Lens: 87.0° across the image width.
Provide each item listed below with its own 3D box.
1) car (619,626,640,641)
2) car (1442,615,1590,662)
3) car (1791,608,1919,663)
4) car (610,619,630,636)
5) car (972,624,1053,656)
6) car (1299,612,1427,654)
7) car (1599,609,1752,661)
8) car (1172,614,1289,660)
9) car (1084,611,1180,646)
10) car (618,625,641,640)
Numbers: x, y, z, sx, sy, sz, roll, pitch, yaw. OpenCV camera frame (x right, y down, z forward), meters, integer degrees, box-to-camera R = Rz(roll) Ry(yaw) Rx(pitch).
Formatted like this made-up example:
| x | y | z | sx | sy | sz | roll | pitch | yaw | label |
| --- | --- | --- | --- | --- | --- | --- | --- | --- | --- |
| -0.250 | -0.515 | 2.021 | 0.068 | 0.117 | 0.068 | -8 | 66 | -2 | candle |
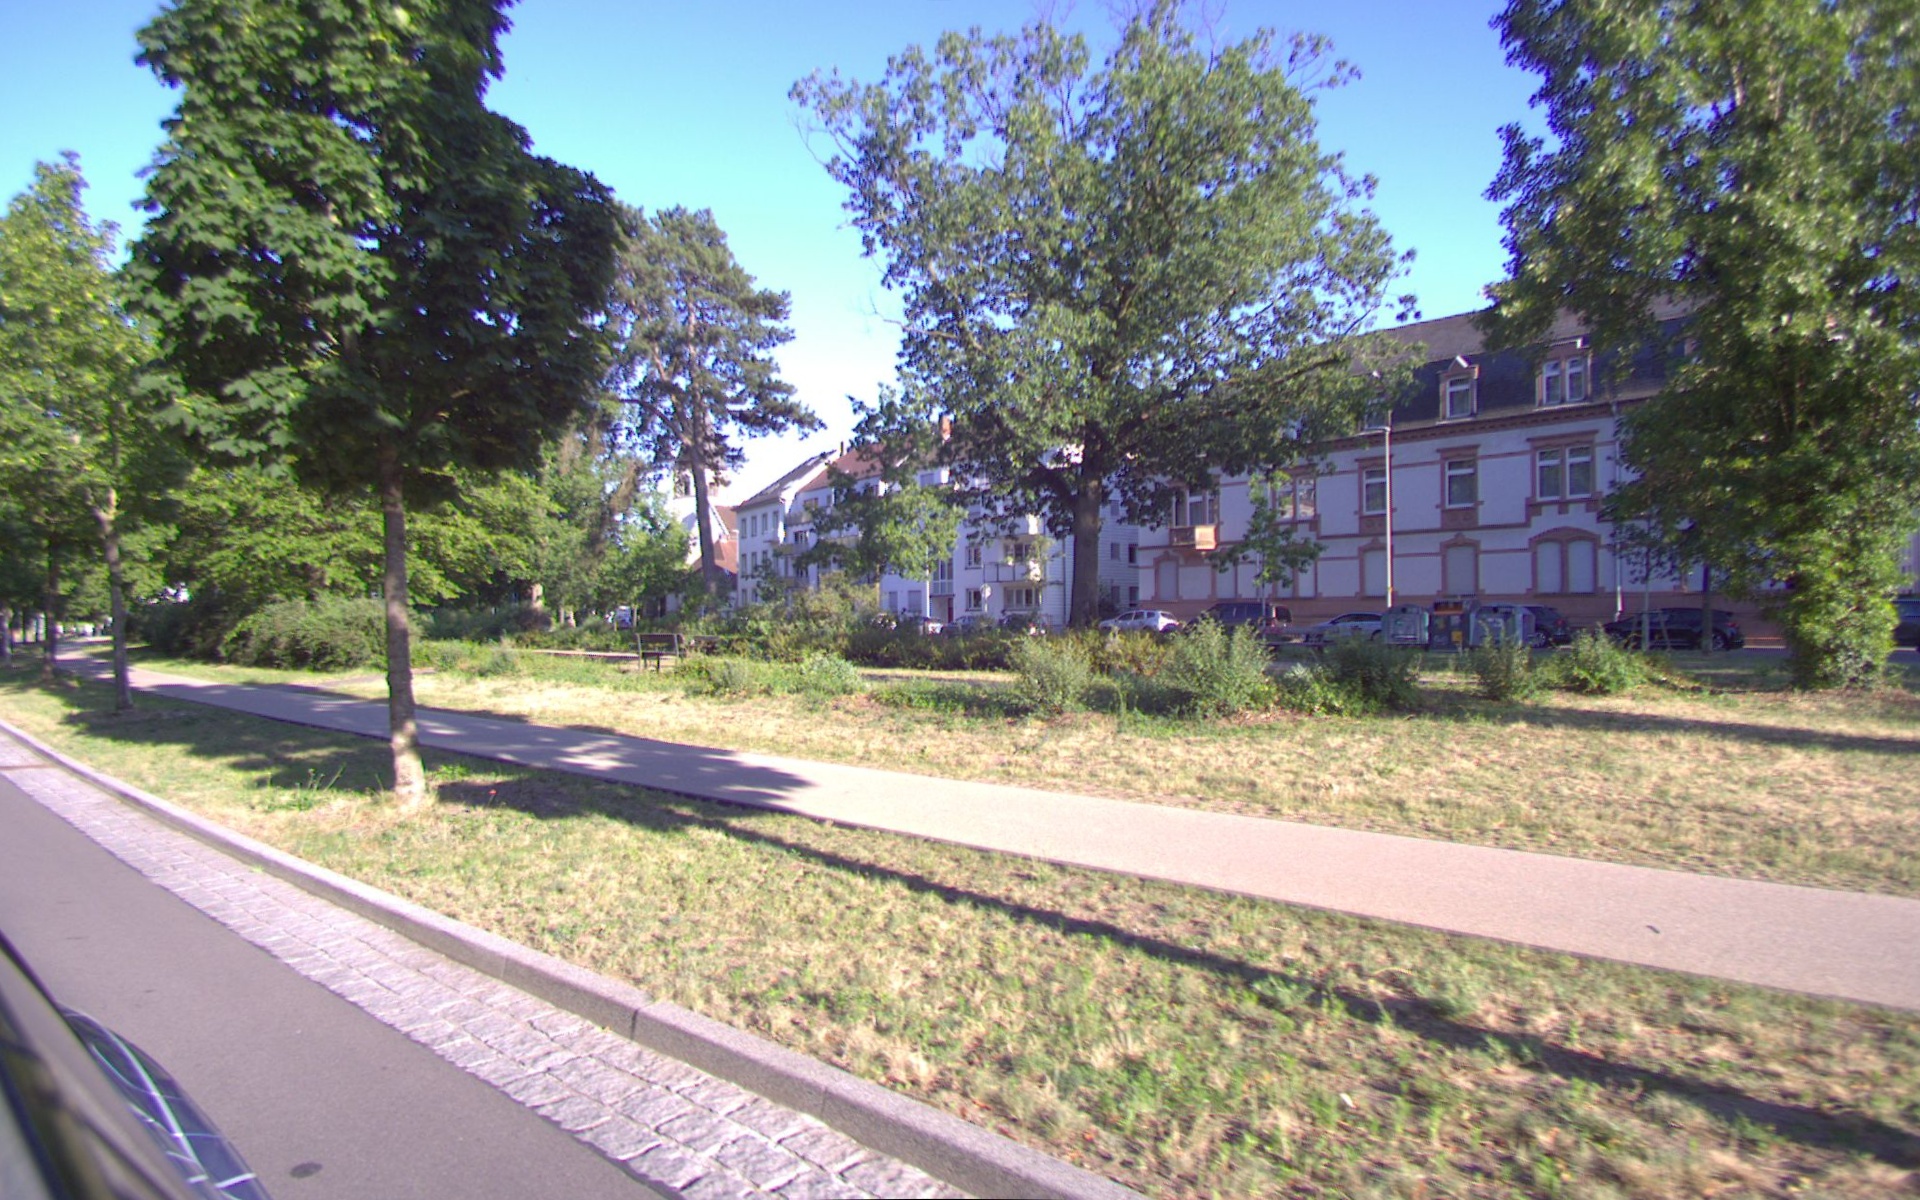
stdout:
| x | y | z | sx | sy | sz | roll | pitch | yaw | label |
| --- | --- | --- | --- | --- | --- | --- | --- | --- | --- |
| -39.876 | 4.021 | 121.964 | 1.858 | 1.586 | 4.614 | 1 | 0 | -25 | car |
| 20.853 | 1.391 | 38.038 | 4.597 | 1.586 | 1.865 | 0 | -1 | 42 | car |
| 28.334 | 1.067 | 31.334 | 3.996 | 1.586 | 1.866 | 1 | 0 | 39 | car |
| -43.862 | 3.538 | 130.456 | 1.858 | 2.142 | 4.614 | 1 | 0 | -25 | car |
| 2.907 | 2.217 | 57.048 | 1.861 | 1.586 | 4.605 | 1 | 0 | -41 | car |
| 16.664 | 1.321 | 42.009 | 1.863 | 1.586 | 4.602 | 1 | -1 | -45 | car |
| 24.273 | 1.144 | 34.425 | 1.863 | 1.586 | 4.002 | 1 | -1 | -45 | car |
| 12.347 | 1.661 | 46.481 | 1.861 | 1.908 | 4.983 | 1 | -1 | -41 | car |
| 8.539 | 1.381 | 50.599 | 1.862 | 1.586 | 4.605 | 1 | 0 | -41 | car |
| -37.650 | 3.728 | 115.162 | 1.858 | 1.586 | 4.614 | 1 | 0 | -25 | car |
